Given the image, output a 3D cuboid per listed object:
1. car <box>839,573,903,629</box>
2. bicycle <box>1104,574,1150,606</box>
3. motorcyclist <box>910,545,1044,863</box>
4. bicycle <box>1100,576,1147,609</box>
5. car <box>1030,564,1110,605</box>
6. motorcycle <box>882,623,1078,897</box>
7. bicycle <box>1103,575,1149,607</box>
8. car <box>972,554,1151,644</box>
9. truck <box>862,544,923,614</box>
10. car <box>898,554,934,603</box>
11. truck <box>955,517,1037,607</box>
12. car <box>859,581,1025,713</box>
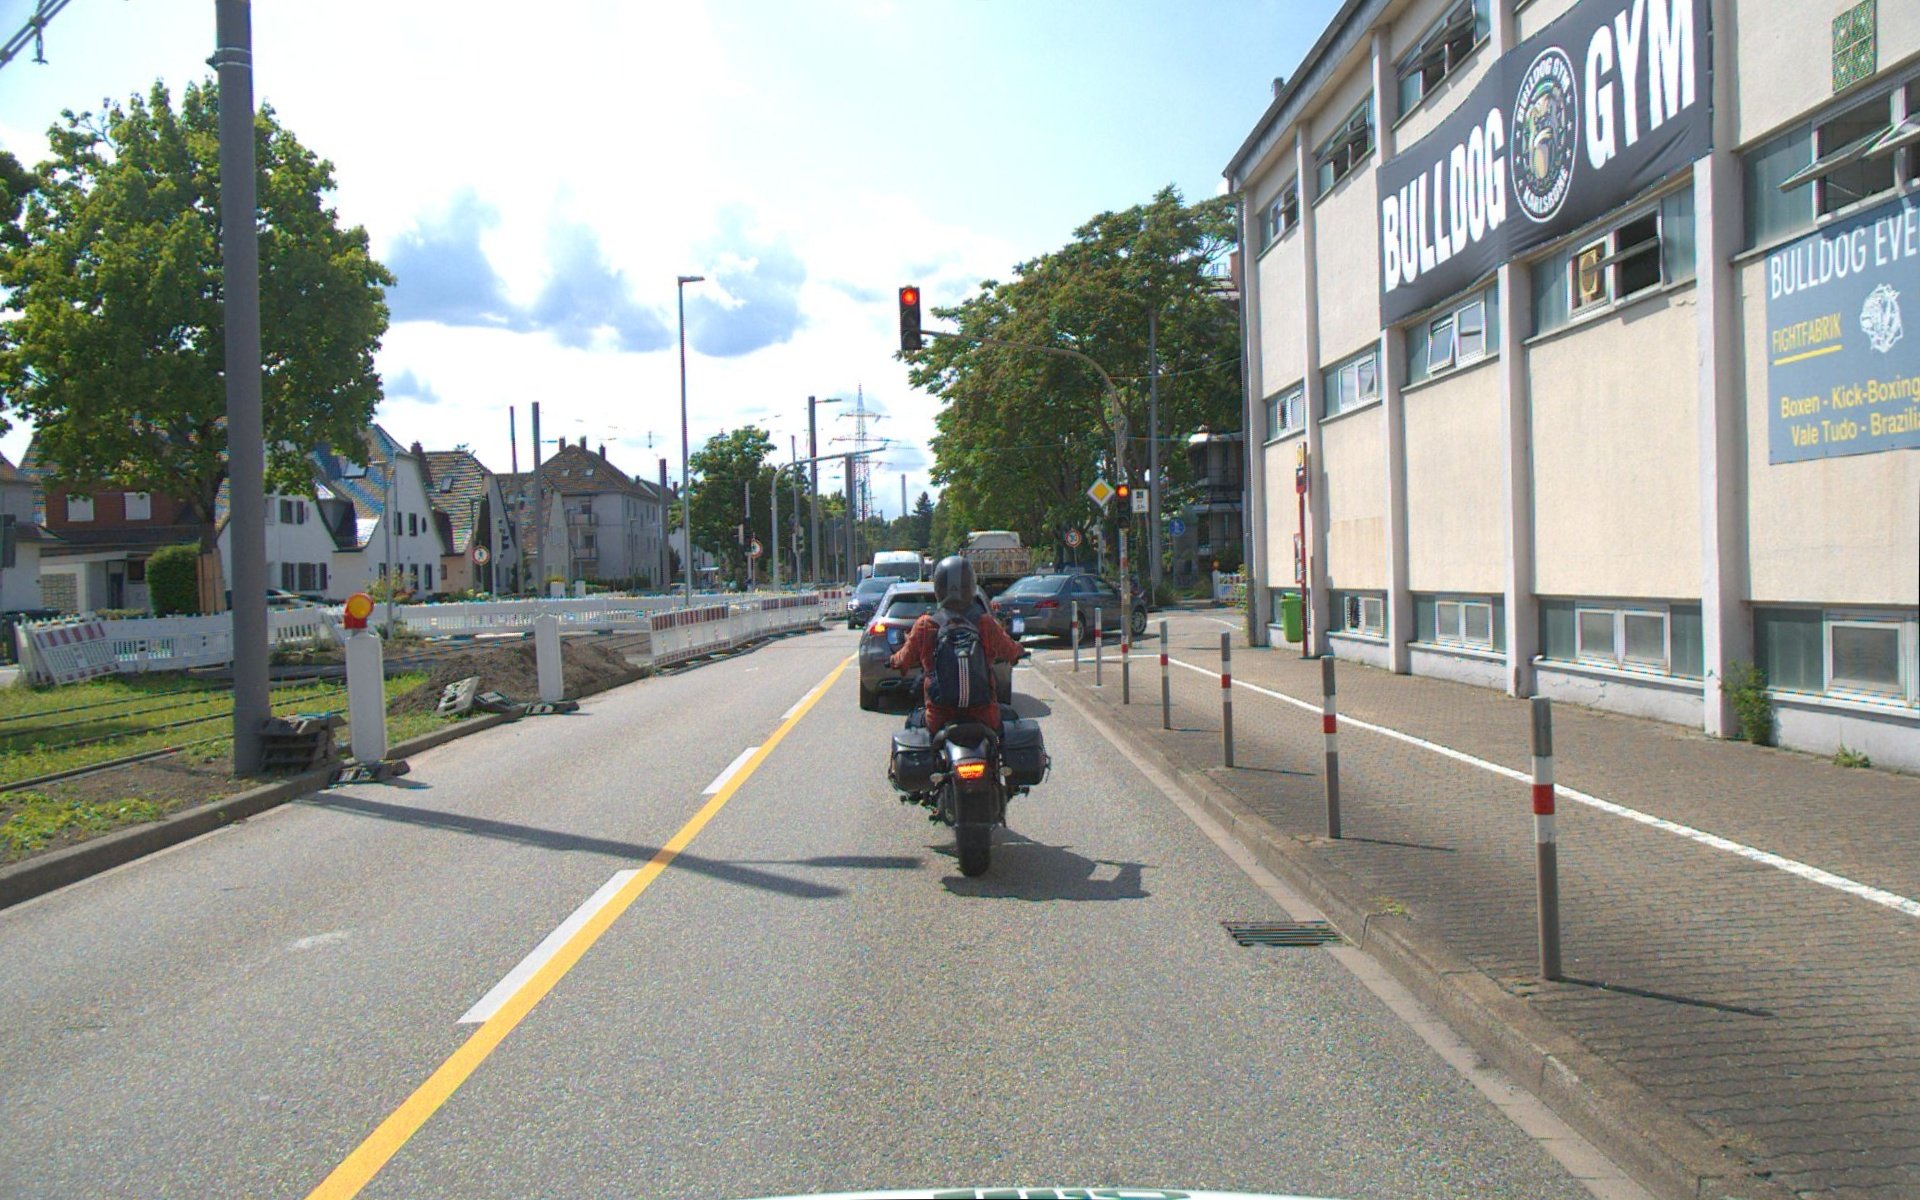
[{"bbox_3d":[-2.580,-0.005,48.916,1.611,1.524,4.269,-1,1,0],"label":"car"},{"bbox_3d":[6.197,-0.376,61.425,1.672,1.192,0.438,0,0,4],"label":"bicycle"},{"bbox_3d":[0.083,0.532,8.844,0.684,1.632,0.692,0,0,-1],"label":"motorcyclist"},{"bbox_3d":[5.968,-0.261,60.389,1.672,1.192,0.438,0,0,4],"label":"bicycle"},{"bbox_3d":[5.385,-0.745,80.678,1.773,1.959,3.972,0,0,44],"label":"car"},{"bbox_3d":[0.078,0.777,9.062,0.923,1.221,2.472,0,1,-1],"label":"motorcycle"},{"bbox_3d":[6.120,-0.325,60.876,1.672,1.192,0.438,0,0,4],"label":"bicycle"},{"bbox_3d":[2.304,-0.068,36.350,1.867,1.742,4.708,-1,2,32],"label":"car"},{"bbox_3d":[-2.589,-0.886,64.894,2.050,2.519,5.197,-3,2,0],"label":"truck"},{"bbox_3d":[-1.972,-0.964,75.372,1.556,2.180,3.626,0,0,0],"label":"car"},{"bbox_3d":[1.412,-1.377,63.264,2.906,3.228,7.766,0,0,2],"label":"truck"},{"bbox_3d":[-0.313,0.503,20.227,1.698,1.428,4.082,1,1,-5],"label":"car"}]
